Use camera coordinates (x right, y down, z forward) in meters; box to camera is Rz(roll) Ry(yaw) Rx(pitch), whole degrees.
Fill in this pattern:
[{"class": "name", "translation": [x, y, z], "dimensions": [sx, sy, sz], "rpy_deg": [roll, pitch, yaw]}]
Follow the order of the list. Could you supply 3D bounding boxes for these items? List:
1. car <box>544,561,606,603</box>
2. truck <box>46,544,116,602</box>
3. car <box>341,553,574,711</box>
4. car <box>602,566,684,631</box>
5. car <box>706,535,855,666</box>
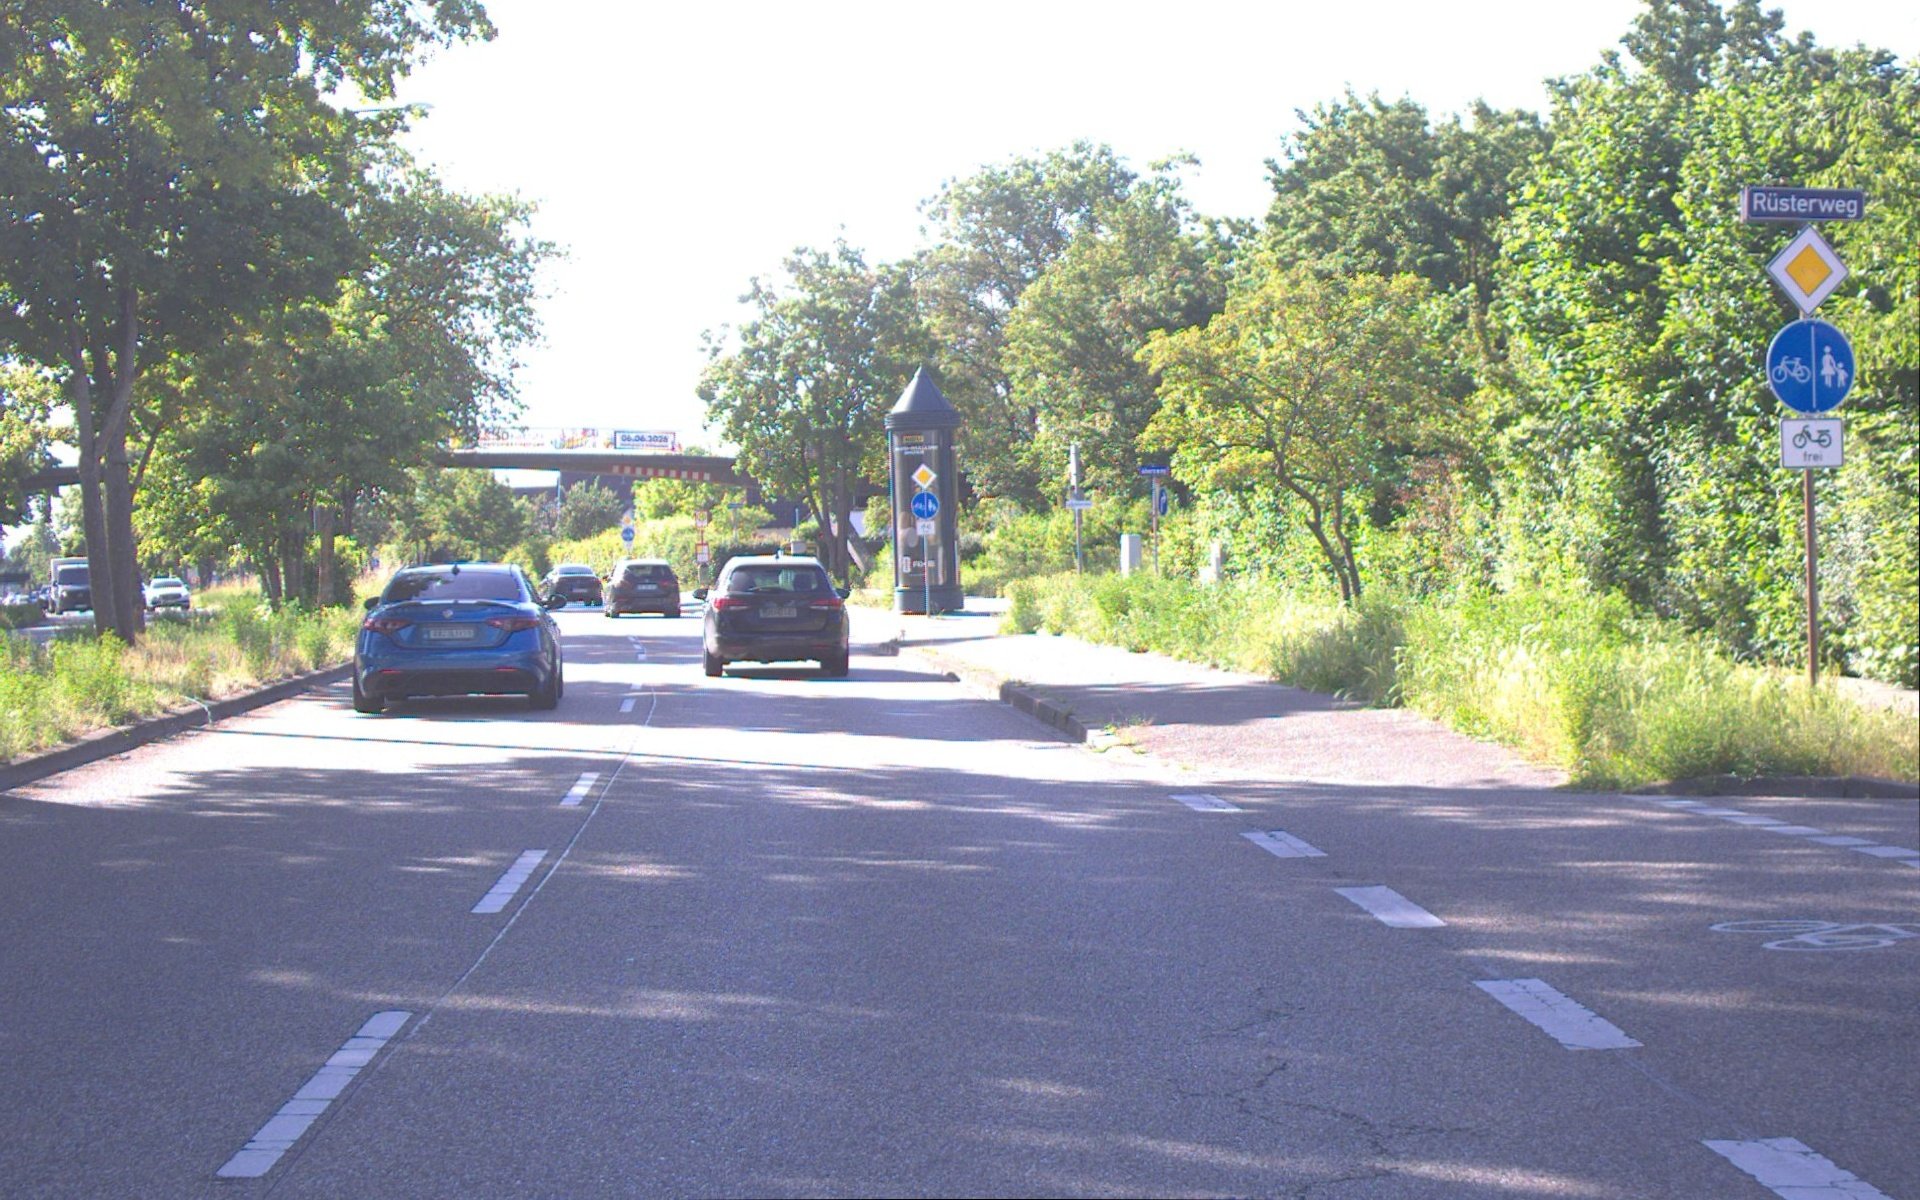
[{"class": "car", "translation": [-13.406, -0.641, 119.612], "dimensions": [1.898, 1.351, 4.001], "rpy_deg": [-1, 1, -9]}, {"class": "truck", "translation": [-40.638, -1.211, 158.842], "dimensions": [2.172, 2.504, 5.743], "rpy_deg": [-4, 1, -22]}, {"class": "car", "translation": [-4.851, 0.262, 33.665], "dimensions": [1.994, 1.400, 4.001], "rpy_deg": [-1, 1, -5]}, {"class": "car", "translation": [-8.279, -0.062, 89.559], "dimensions": [1.743, 1.592, 4.176], "rpy_deg": [-1, 1, -10]}, {"class": "car", "translation": [-2.284, 0.018, 42.959], "dimensions": [1.760, 1.554, 4.000], "rpy_deg": [0, 0, -4]}]
